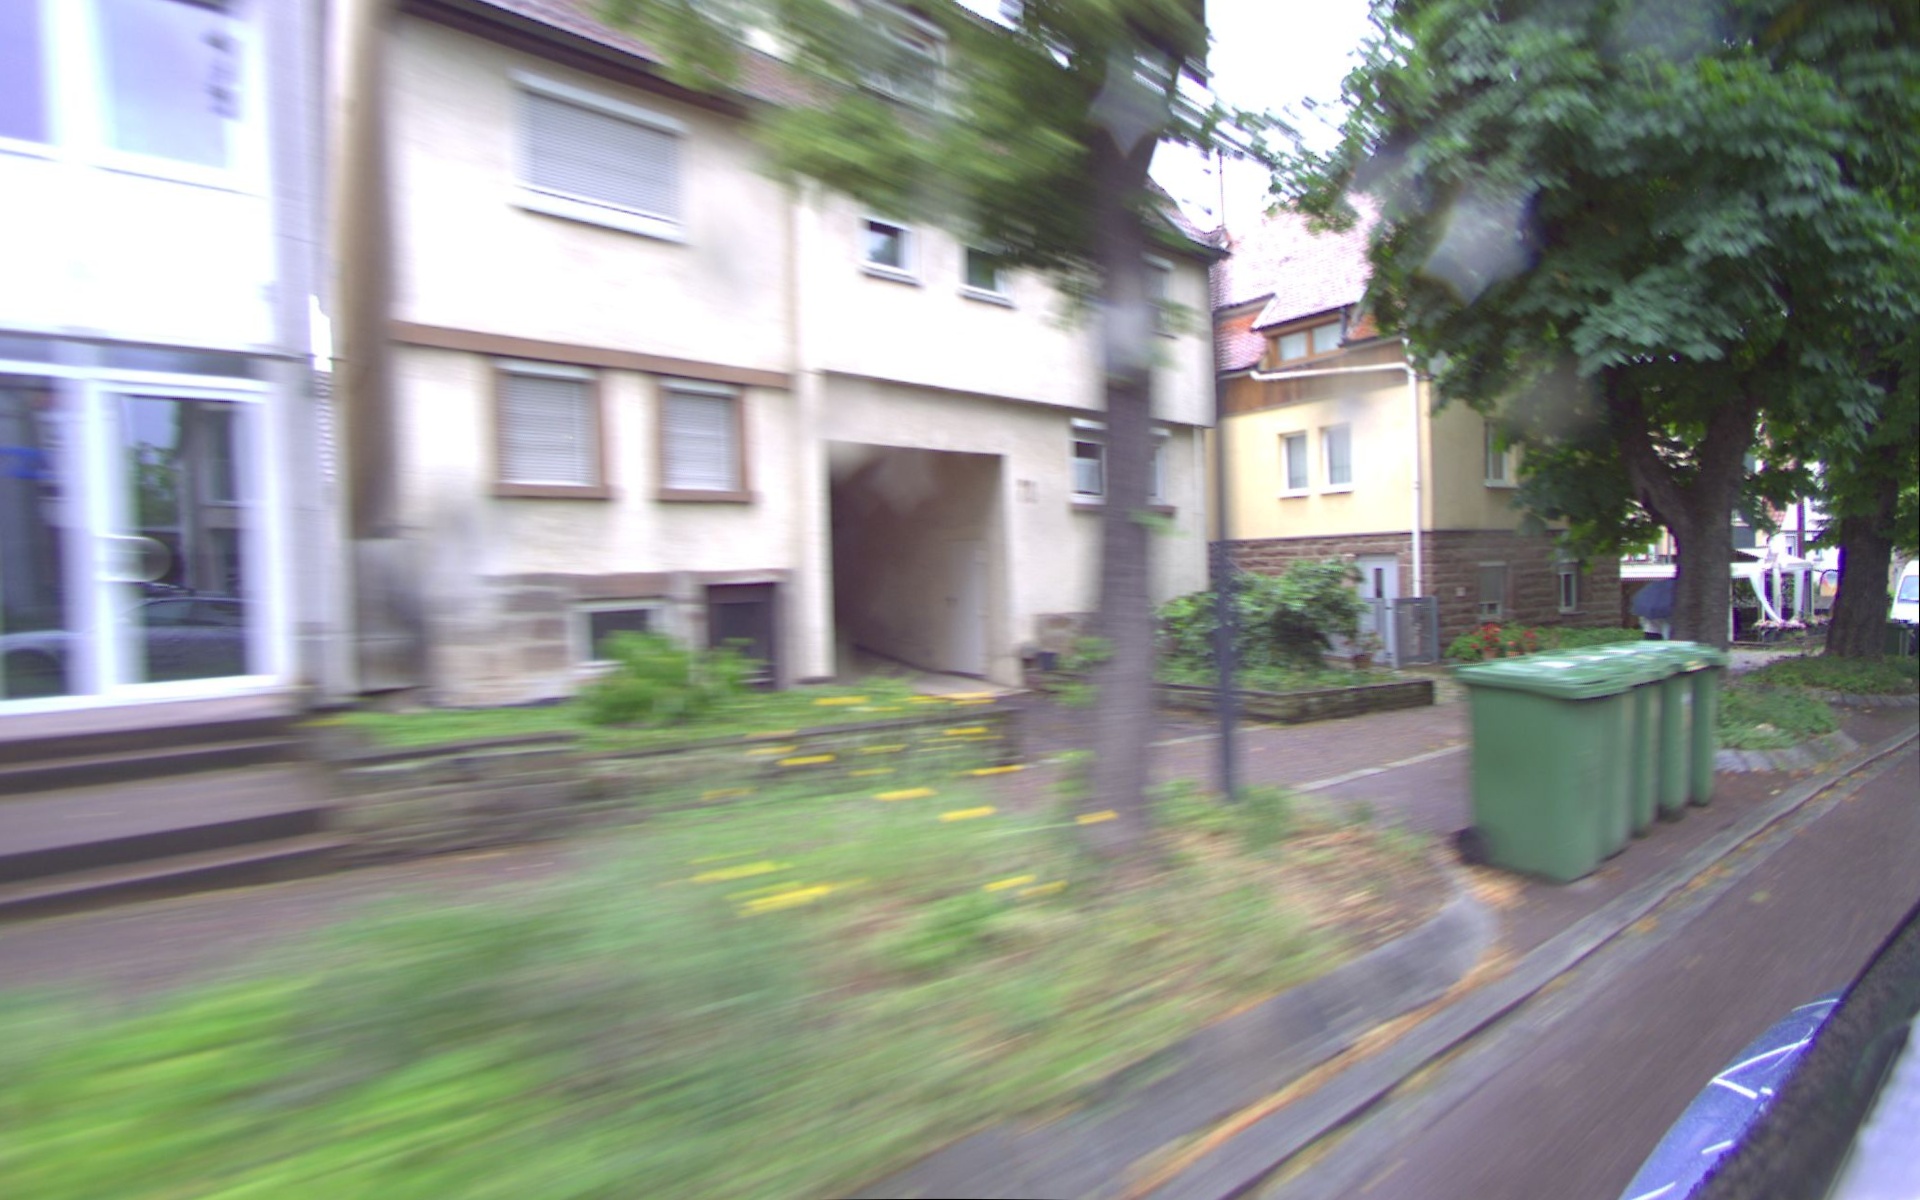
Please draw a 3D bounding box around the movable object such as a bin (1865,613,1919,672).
[{"bbox_3d":[18.104,0.804,19.600,0.863,1.089,0.749,0,0,-40],"label":"movable object such as a bin"}]

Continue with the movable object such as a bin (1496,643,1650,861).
[{"bbox_3d":[3.420,0.808,5.652,0.464,1.096,0.631,0,-1,-44],"label":"movable object such as a bin"}]

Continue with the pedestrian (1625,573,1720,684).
[{"bbox_3d":[11.187,0.422,15.907,0.778,1.672,0.959,0,1,-27],"label":"pedestrian"}]

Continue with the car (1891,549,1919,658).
[{"bbox_3d":[24.365,0.049,24.446,5.340,2.491,2.144,0,0,-41],"label":"car"}]

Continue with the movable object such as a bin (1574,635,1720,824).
[{"bbox_3d":[4.423,0.794,6.522,0.532,1.096,0.688,0,0,-44],"label":"movable object such as a bin"}]

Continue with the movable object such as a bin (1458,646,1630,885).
[{"bbox_3d":[3.013,0.803,5.227,0.532,1.096,0.644,0,-1,-44],"label":"movable object such as a bin"}]

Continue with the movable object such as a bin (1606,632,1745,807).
[{"bbox_3d":[4.910,0.780,6.951,0.532,1.096,0.688,0,0,-44],"label":"movable object such as a bin"}]

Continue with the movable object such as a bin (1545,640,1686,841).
[{"bbox_3d":[3.934,0.803,6.080,0.504,1.096,0.610,0,-1,-44],"label":"movable object such as a bin"}]
